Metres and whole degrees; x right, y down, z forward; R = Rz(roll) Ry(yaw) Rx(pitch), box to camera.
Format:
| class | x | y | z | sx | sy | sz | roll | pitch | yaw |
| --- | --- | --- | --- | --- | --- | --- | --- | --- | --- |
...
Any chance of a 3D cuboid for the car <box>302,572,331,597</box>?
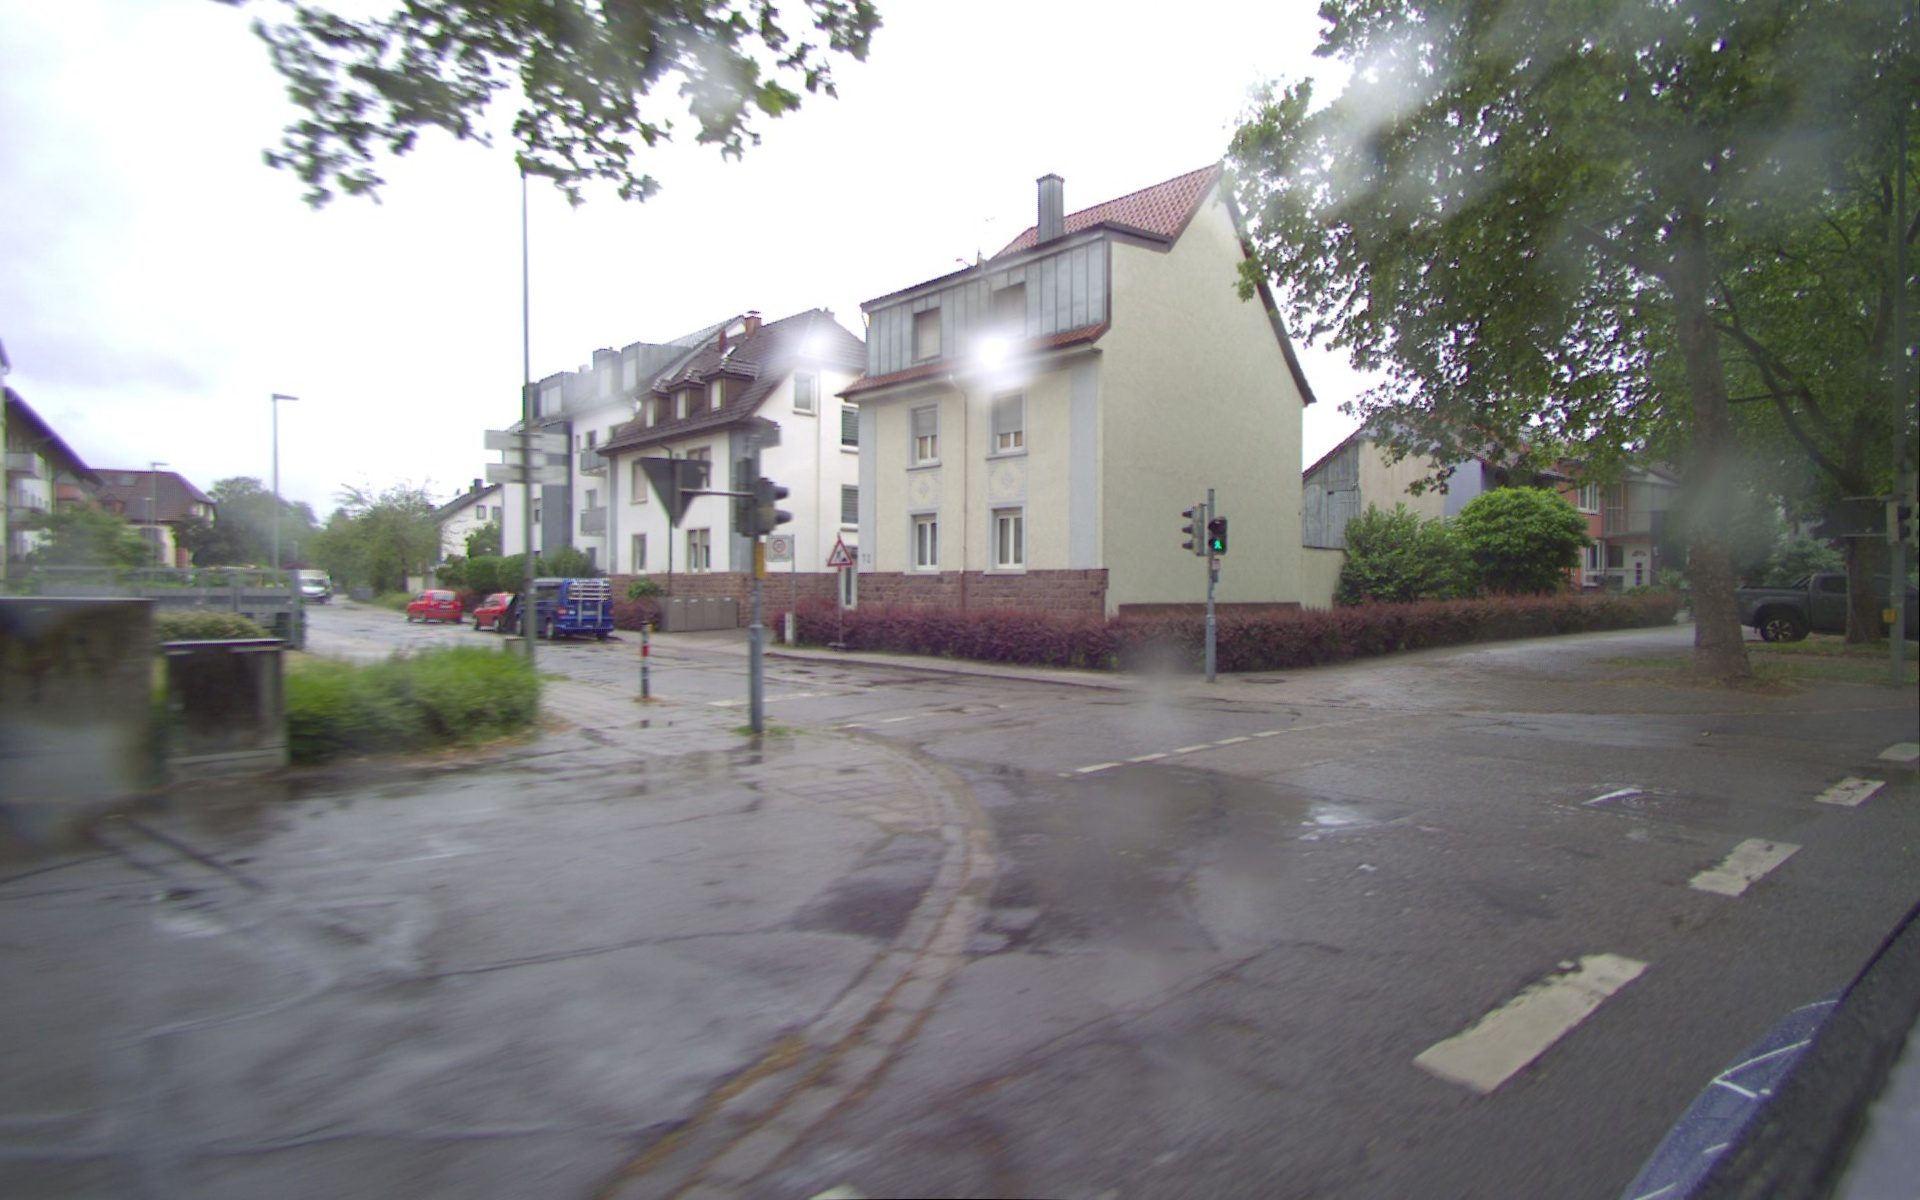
| class | x | y | z | sx | sy | sz | roll | pitch | yaw |
| --- | --- | --- | --- | --- | --- | --- | --- | --- | --- |
| car | -58.960 | -1.455 | 92.746 | 1.890 | 2.250 | 4.005 | 0 | 1 | -28 |

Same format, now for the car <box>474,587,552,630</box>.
| class | x | y | z | sx | sy | sz | roll | pitch | yaw |
| --- | --- | --- | --- | --- | --- | --- | --- | --- | --- |
| car | -16.664 | 0.282 | 37.638 | 1.691 | 1.519 | 3.512 | -1 | 1 | -41 |

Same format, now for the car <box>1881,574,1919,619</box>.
| class | x | y | z | sx | sy | sz | roll | pitch | yaw |
| --- | --- | --- | --- | --- | --- | --- | --- | --- | --- |
| car | 32.254 | -0.103 | 32.779 | 1.589 | 1.482 | 3.365 | 0 | 2 | -38 |

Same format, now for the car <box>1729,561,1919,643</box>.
| class | x | y | z | sx | sy | sz | roll | pitch | yaw |
| --- | --- | --- | --- | --- | --- | --- | --- | --- | --- |
| car | 22.131 | 0.026 | 24.481 | 1.814 | 1.829 | 5.346 | -1 | 3 | -43 |

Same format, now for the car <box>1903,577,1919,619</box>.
| class | x | y | z | sx | sy | sz | roll | pitch | yaw |
| --- | --- | --- | --- | --- | --- | --- | --- | --- | --- |
| car | 36.555 | -0.011 | 35.610 | 1.904 | 1.491 | 4.775 | 0 | 2 | -41 |

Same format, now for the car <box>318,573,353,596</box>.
| class | x | y | z | sx | sy | sz | roll | pitch | yaw |
| --- | --- | --- | --- | --- | --- | --- | --- | --- | --- |
| car | -62.101 | -1.568 | 100.744 | 1.958 | 2.250 | 4.009 | 0 | 1 | -16 |

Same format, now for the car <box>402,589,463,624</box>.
| class | x | y | z | sx | sy | sz | roll | pitch | yaw |
| --- | --- | --- | --- | --- | --- | --- | --- | --- | --- |
| car | -23.952 | 0.266 | 45.906 | 1.691 | 1.519 | 3.512 | -1 | 1 | -41 |

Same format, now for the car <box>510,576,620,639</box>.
| class | x | y | z | sx | sy | sz | roll | pitch | yaw |
| --- | --- | --- | --- | --- | --- | --- | --- | --- | --- |
| car | -13.030 | 0.191 | 33.198 | 1.894 | 1.900 | 4.674 | -1 | 1 | -41 |

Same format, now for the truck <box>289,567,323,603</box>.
| class | x | y | z | sx | sy | sz | roll | pitch | yaw |
| --- | --- | --- | --- | --- | --- | --- | --- | --- | --- |
| truck | -52.864 | -1.192 | 81.719 | 2.043 | 2.821 | 5.236 | 0 | 1 | -36 |

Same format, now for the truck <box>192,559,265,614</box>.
| class | x | y | z | sx | sy | sz | roll | pitch | yaw |
| --- | --- | --- | --- | --- | --- | --- | --- | --- | --- |
| truck | -40.771 | -0.757 | 56.297 | 2.499 | 2.887 | 8.519 | -1 | 1 | -41 |
